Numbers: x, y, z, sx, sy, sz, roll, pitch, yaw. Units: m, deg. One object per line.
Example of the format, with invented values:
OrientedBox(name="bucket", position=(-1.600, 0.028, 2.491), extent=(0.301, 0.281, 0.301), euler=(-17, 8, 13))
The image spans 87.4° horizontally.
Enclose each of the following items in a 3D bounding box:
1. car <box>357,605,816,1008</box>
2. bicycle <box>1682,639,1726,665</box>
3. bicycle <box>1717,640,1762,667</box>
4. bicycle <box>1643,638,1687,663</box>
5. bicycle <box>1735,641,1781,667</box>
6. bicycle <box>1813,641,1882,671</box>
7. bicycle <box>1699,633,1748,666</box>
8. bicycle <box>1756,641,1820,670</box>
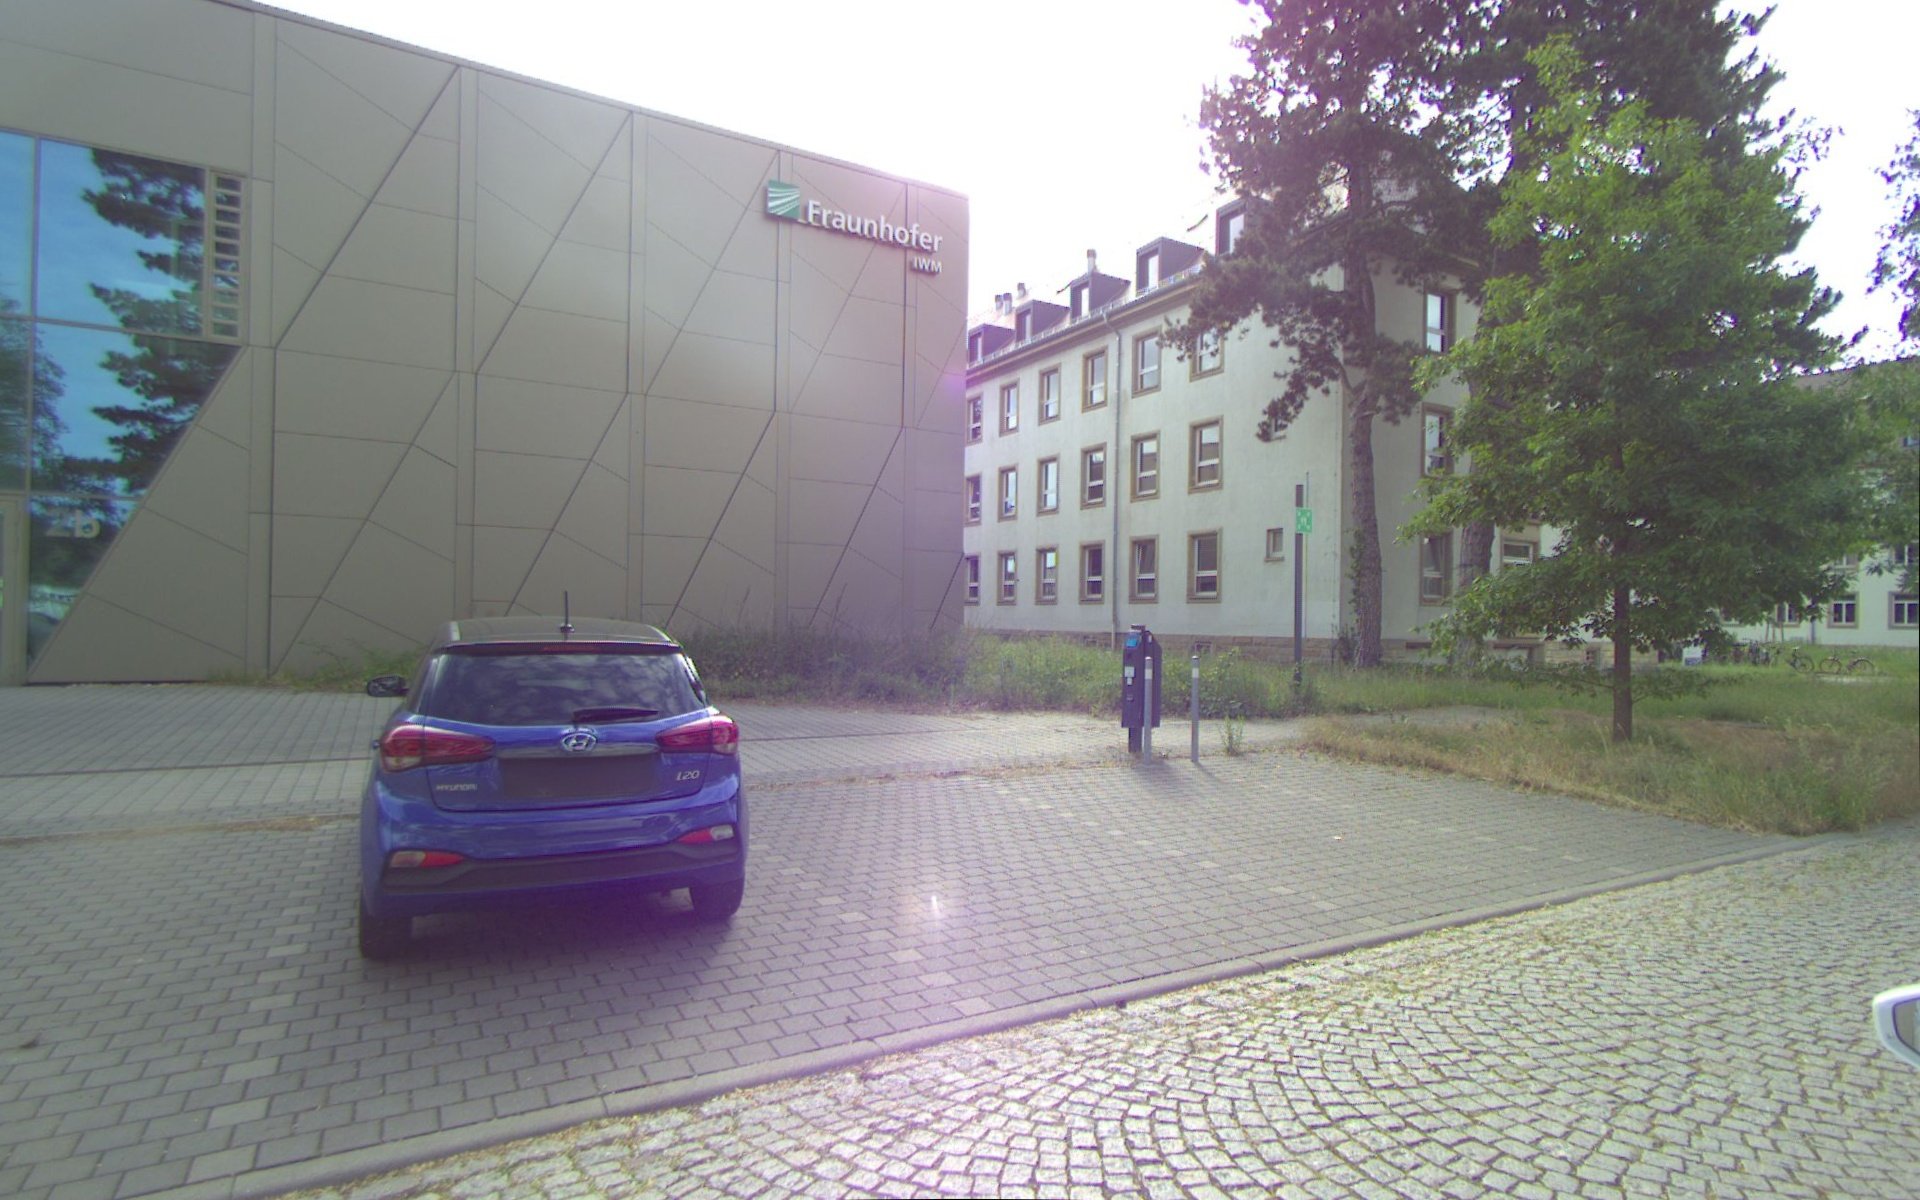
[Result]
OrientedBox(name="car", position=(-2.341, 0.832, 5.994), extent=(1.828, 1.497, 3.752), euler=(1, 0, -27))
OrientedBox(name="bicycle", position=(32.945, 2.293, 44.468), extent=(2.246, 1.090, 0.732), euler=(2, -1, -30))
OrientedBox(name="bicycle", position=(33.293, 2.284, 42.886), extent=(2.246, 1.090, 0.732), euler=(2, -1, -30))
OrientedBox(name="bicycle", position=(31.922, 2.264, 45.461), extent=(2.246, 1.090, 0.732), euler=(2, -1, -30))
OrientedBox(name="bicycle", position=(33.671, 2.274, 42.366), extent=(2.246, 1.090, 0.732), euler=(2, -1, -30))
OrientedBox(name="bicycle", position=(34.265, 2.166, 38.813), extent=(0.821, 1.090, 1.849), euler=(1, -1, -27))
OrientedBox(name="bicycle", position=(33.239, 2.150, 43.715), extent=(2.679, 1.404, 0.732), euler=(2, -1, -30))
OrientedBox(name="bicycle", position=(33.322, 2.218, 40.441), extent=(0.729, 1.090, 1.849), euler=(1, -1, -27))
